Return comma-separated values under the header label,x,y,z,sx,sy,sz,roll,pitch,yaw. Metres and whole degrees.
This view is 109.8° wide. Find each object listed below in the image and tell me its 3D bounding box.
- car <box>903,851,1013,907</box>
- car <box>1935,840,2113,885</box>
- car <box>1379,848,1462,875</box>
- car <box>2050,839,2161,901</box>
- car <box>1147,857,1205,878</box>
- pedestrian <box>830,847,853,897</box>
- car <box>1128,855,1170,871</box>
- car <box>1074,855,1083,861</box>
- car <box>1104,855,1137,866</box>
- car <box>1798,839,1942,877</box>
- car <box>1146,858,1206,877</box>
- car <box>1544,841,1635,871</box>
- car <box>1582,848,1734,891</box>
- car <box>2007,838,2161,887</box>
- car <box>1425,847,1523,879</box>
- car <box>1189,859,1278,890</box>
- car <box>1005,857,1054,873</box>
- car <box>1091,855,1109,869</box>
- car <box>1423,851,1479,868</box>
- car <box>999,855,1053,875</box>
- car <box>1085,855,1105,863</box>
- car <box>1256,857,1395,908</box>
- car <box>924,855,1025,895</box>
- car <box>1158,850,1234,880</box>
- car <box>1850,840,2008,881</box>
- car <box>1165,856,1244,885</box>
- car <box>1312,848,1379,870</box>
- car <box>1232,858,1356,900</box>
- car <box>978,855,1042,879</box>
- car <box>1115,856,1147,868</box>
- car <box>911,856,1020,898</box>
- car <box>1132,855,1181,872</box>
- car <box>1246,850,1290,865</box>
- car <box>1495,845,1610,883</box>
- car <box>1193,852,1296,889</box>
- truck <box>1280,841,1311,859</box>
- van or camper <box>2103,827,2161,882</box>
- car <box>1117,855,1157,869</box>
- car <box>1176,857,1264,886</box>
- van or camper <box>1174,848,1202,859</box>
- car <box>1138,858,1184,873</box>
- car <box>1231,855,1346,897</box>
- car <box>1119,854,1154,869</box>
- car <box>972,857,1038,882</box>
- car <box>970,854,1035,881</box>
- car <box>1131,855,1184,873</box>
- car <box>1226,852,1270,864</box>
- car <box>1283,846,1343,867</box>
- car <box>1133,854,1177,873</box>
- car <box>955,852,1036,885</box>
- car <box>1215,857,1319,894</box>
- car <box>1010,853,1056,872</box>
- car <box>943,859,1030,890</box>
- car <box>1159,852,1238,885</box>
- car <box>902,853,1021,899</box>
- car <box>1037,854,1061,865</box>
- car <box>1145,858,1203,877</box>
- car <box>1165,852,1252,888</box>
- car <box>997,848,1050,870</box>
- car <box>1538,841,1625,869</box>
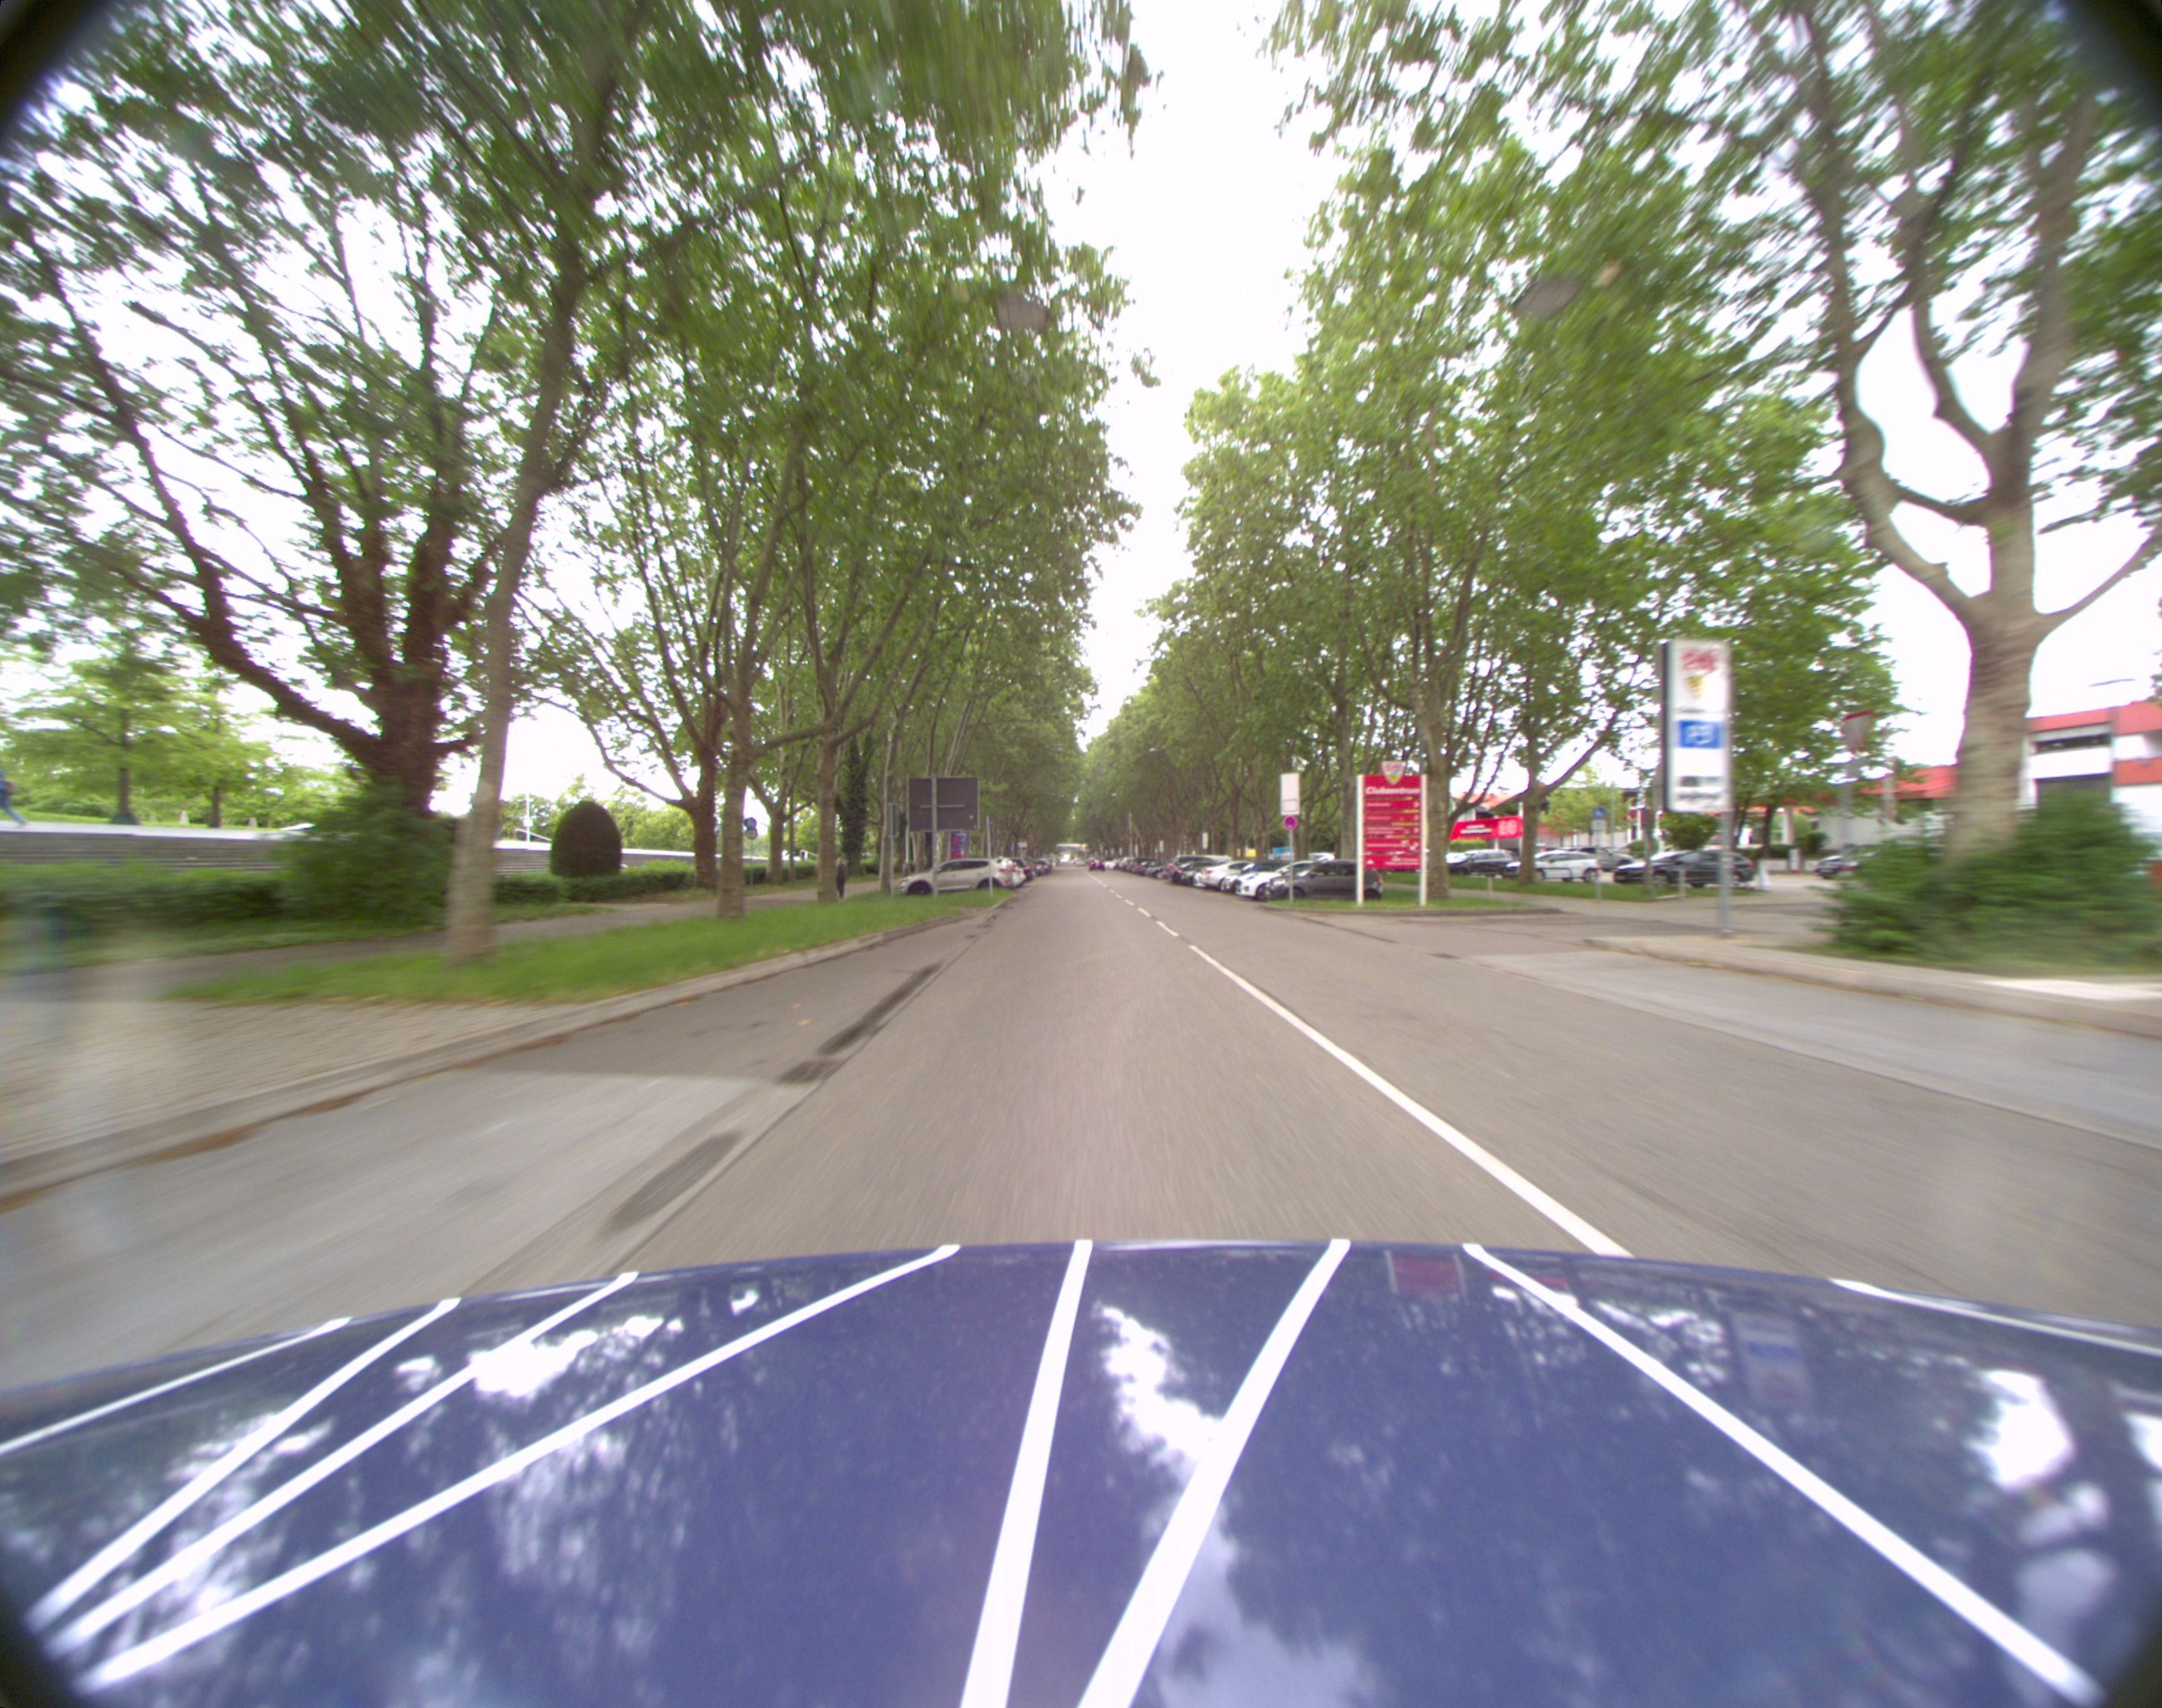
label,x,y,z,sx,sy,sz,roll,pitch,yaw
car,-4.810,0.961,30.213,3.997,2.002,2.000,-2,0,0
car,35.067,0.287,28.339,4.332,1.539,1.958,-1,1,-2
car,23.010,0.488,51.627,4.564,1.715,2.296,-1,1,-2
car,28.912,0.390,19.296,4.964,1.543,2.104,-1,1,39
car,6.890,0.987,55.404,3.988,1.412,1.756,2,0,2
pedestrian,-9.635,0.719,30.581,0.788,2.002,0.598,-2,1,-17
car,6.712,0.873,75.332,3.940,1.507,1.728,1,0,0
car,-0.715,0.941,196.504,1.999,1.375,4.677,-3,0,-5
car,5.558,0.949,107.551,4.420,1.416,1.775,1,0,-2
car,34.380,0.159,33.181,4.332,1.539,1.958,-1,1,-2
car,7.460,1.062,60.044,4.474,1.340,1.902,1,0,1
car,34.056,0.107,51.002,4.588,1.844,2.297,-1,1,4
car,22.601,0.581,29.878,4.332,1.539,2.203,-1,1,-2
car,34.852,0.259,26.026,4.229,1.539,1.789,-1,1,-2
car,23.044,0.492,44.673,4.530,1.752,2.296,-1,1,-2
car,7.541,0.993,37.895,3.998,1.396,1.885,-1,1,-2
car,-4.903,1.041,72.516,4.507,1.420,1.932,-2,0,0
car,2.199,0.886,88.632,1.847,1.501,4.014,-1,1,-2
car,33.274,0.489,68.392,3.998,1.419,1.999,-1,1,-3
car,-4.602,0.954,64.239,4.356,1.493,1.926,-2,0,2
car,3.287,1.111,175.235,4.492,1.740,2.000,-3,0,4
car,8.028,0.910,25.195,4.004,1.531,1.805,-1,1,1
car,-4.887,0.950,35.219,4.357,1.624,1.925,-2,0,0
car,7.190,0.697,47.747,4.330,1.799,1.867,1,0,-5
car,34.346,0.249,30.859,4.332,1.539,1.958,-1,1,-2
car,6.903,0.934,42.788,4.139,1.443,2.013,2,0,1
car,22.314,0.434,64.212,4.955,1.786,2.182,-1,0,-3
car,7.657,0.872,27.601,4.003,1.377,1.912,-1,1,3
car,-5.344,1.009,57.752,4.602,1.629,1.872,-2,0,1
car,6.430,0.988,97.580,3.997,1.444,1.855,-1,1,0
car,-4.936,0.968,32.861,4.357,1.595,1.925,-2,0,0
car,6.433,0.835,65.199,3.941,1.390,1.703,1,0,-2
car,21.998,0.390,89.463,4.565,1.710,1.999,1,0,-3
car,22.978,0.469,37.164,4.332,1.699,2.131,-1,1,-2
car,7.544,0.754,35.269,4.275,1.539,1.907,2,1,-3
truck,33.405,-0.607,118.326,3.998,2.701,2.376,-1,1,-2
van or camper,35.290,-0.032,23.621,4.332,1.699,2.131,-1,1,-2
car,5.888,0.880,80.152,4.004,1.412,1.703,1,0,-2
car,7.335,0.913,40.369,4.200,1.346,1.966,-1,1,-3
van or camper,21.379,-0.074,151.918,5.300,2.087,2.243,-1,1,-3
car,7.378,1.073,70.175,3.941,1.356,1.826,1,0,-2
car,8.171,0.841,30.141,4.004,1.485,1.832,-1,1,-1
car,6.592,0.883,90.382,3.997,1.672,1.855,-1,1,0
car,-4.975,1.004,50.287,4.159,1.449,1.727,-2,0,0
car,-5.419,0.931,52.814,4.358,1.735,1.836,-2,0,-3
car,6.771,0.872,67.693,4.475,1.473,1.703,1,0,-2
car,22.250,0.523,101.423,5.363,1.587,2.094,-1,1,-2
car,21.970,0.227,71.963,4.955,1.786,2.182,-1,1,-3
car,7.075,0.906,72.931,3.941,1.698,1.752,1,0,-2
car,-4.755,0.808,42.597,4.358,1.750,1.925,-1,0,-2
car,7.900,0.899,32.534,3.997,1.397,1.861,-1,1,-1
car,-4.859,0.882,77.196,4.507,1.786,2.047,-2,0,-1
car,-4.931,1.045,40.232,4.358,1.447,1.949,-2,0,-2
car,6.954,0.837,45.229,4.328,1.785,2.036,-1,1,-1
car,-4.677,0.871,30.244,4.357,1.624,1.925,-2,0,0
car,-6.505,1.066,154.809,4.674,1.891,2.000,-3,0,4
car,7.609,1.106,62.599,4.475,1.358,1.859,2,0,-2
car,6.784,0.826,40.770,4.329,1.799,1.867,1,0,-1
car,-5.129,0.413,68.125,4.505,1.786,2.048,-2,0,3
car,35.082,0.066,53.393,4.588,1.844,2.297,-1,1,4
